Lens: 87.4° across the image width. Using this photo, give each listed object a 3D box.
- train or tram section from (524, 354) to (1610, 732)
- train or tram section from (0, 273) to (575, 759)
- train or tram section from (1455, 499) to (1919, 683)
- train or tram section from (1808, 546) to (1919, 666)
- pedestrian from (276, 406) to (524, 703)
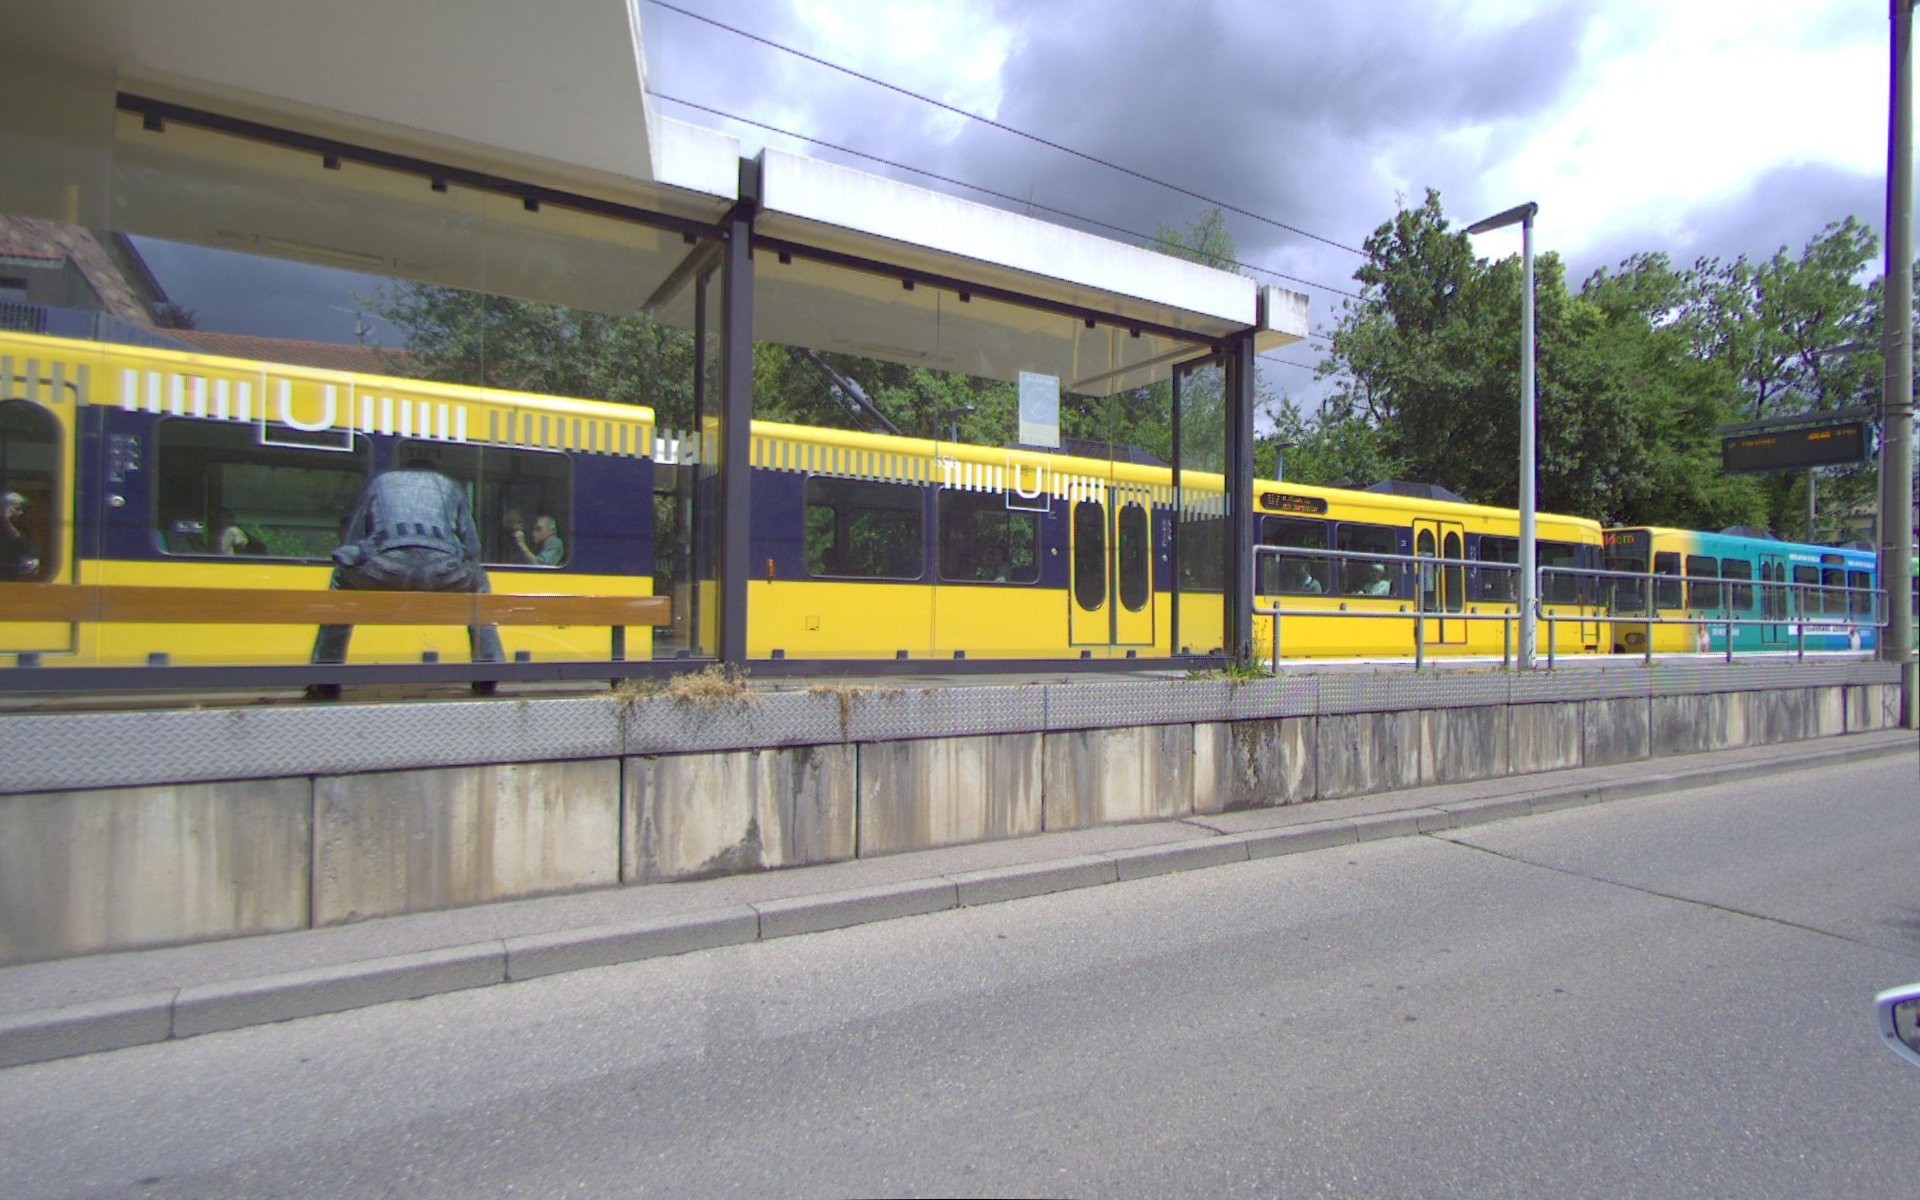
[{"bbox_3d":[3.602,-0.380,15.588,18.782,3.511,3.091,1,1,-32],"label":"train or tram section"},{"bbox_3d":[-12.299,-0.731,5.751,18.613,3.511,3.091,1,1,-32],"label":"train or tram section"},{"bbox_3d":[19.701,-0.025,25.554,18.981,3.511,3.091,1,1,-32],"label":"train or tram section"},{"bbox_3d":[35.793,0.331,35.506,18.874,3.511,3.091,1,1,-32],"label":"train or tram section"},{"bbox_3d":[-2.568,-0.163,4.629,0.909,1.202,0.791,1,-2,-32],"label":"pedestrian"}]
